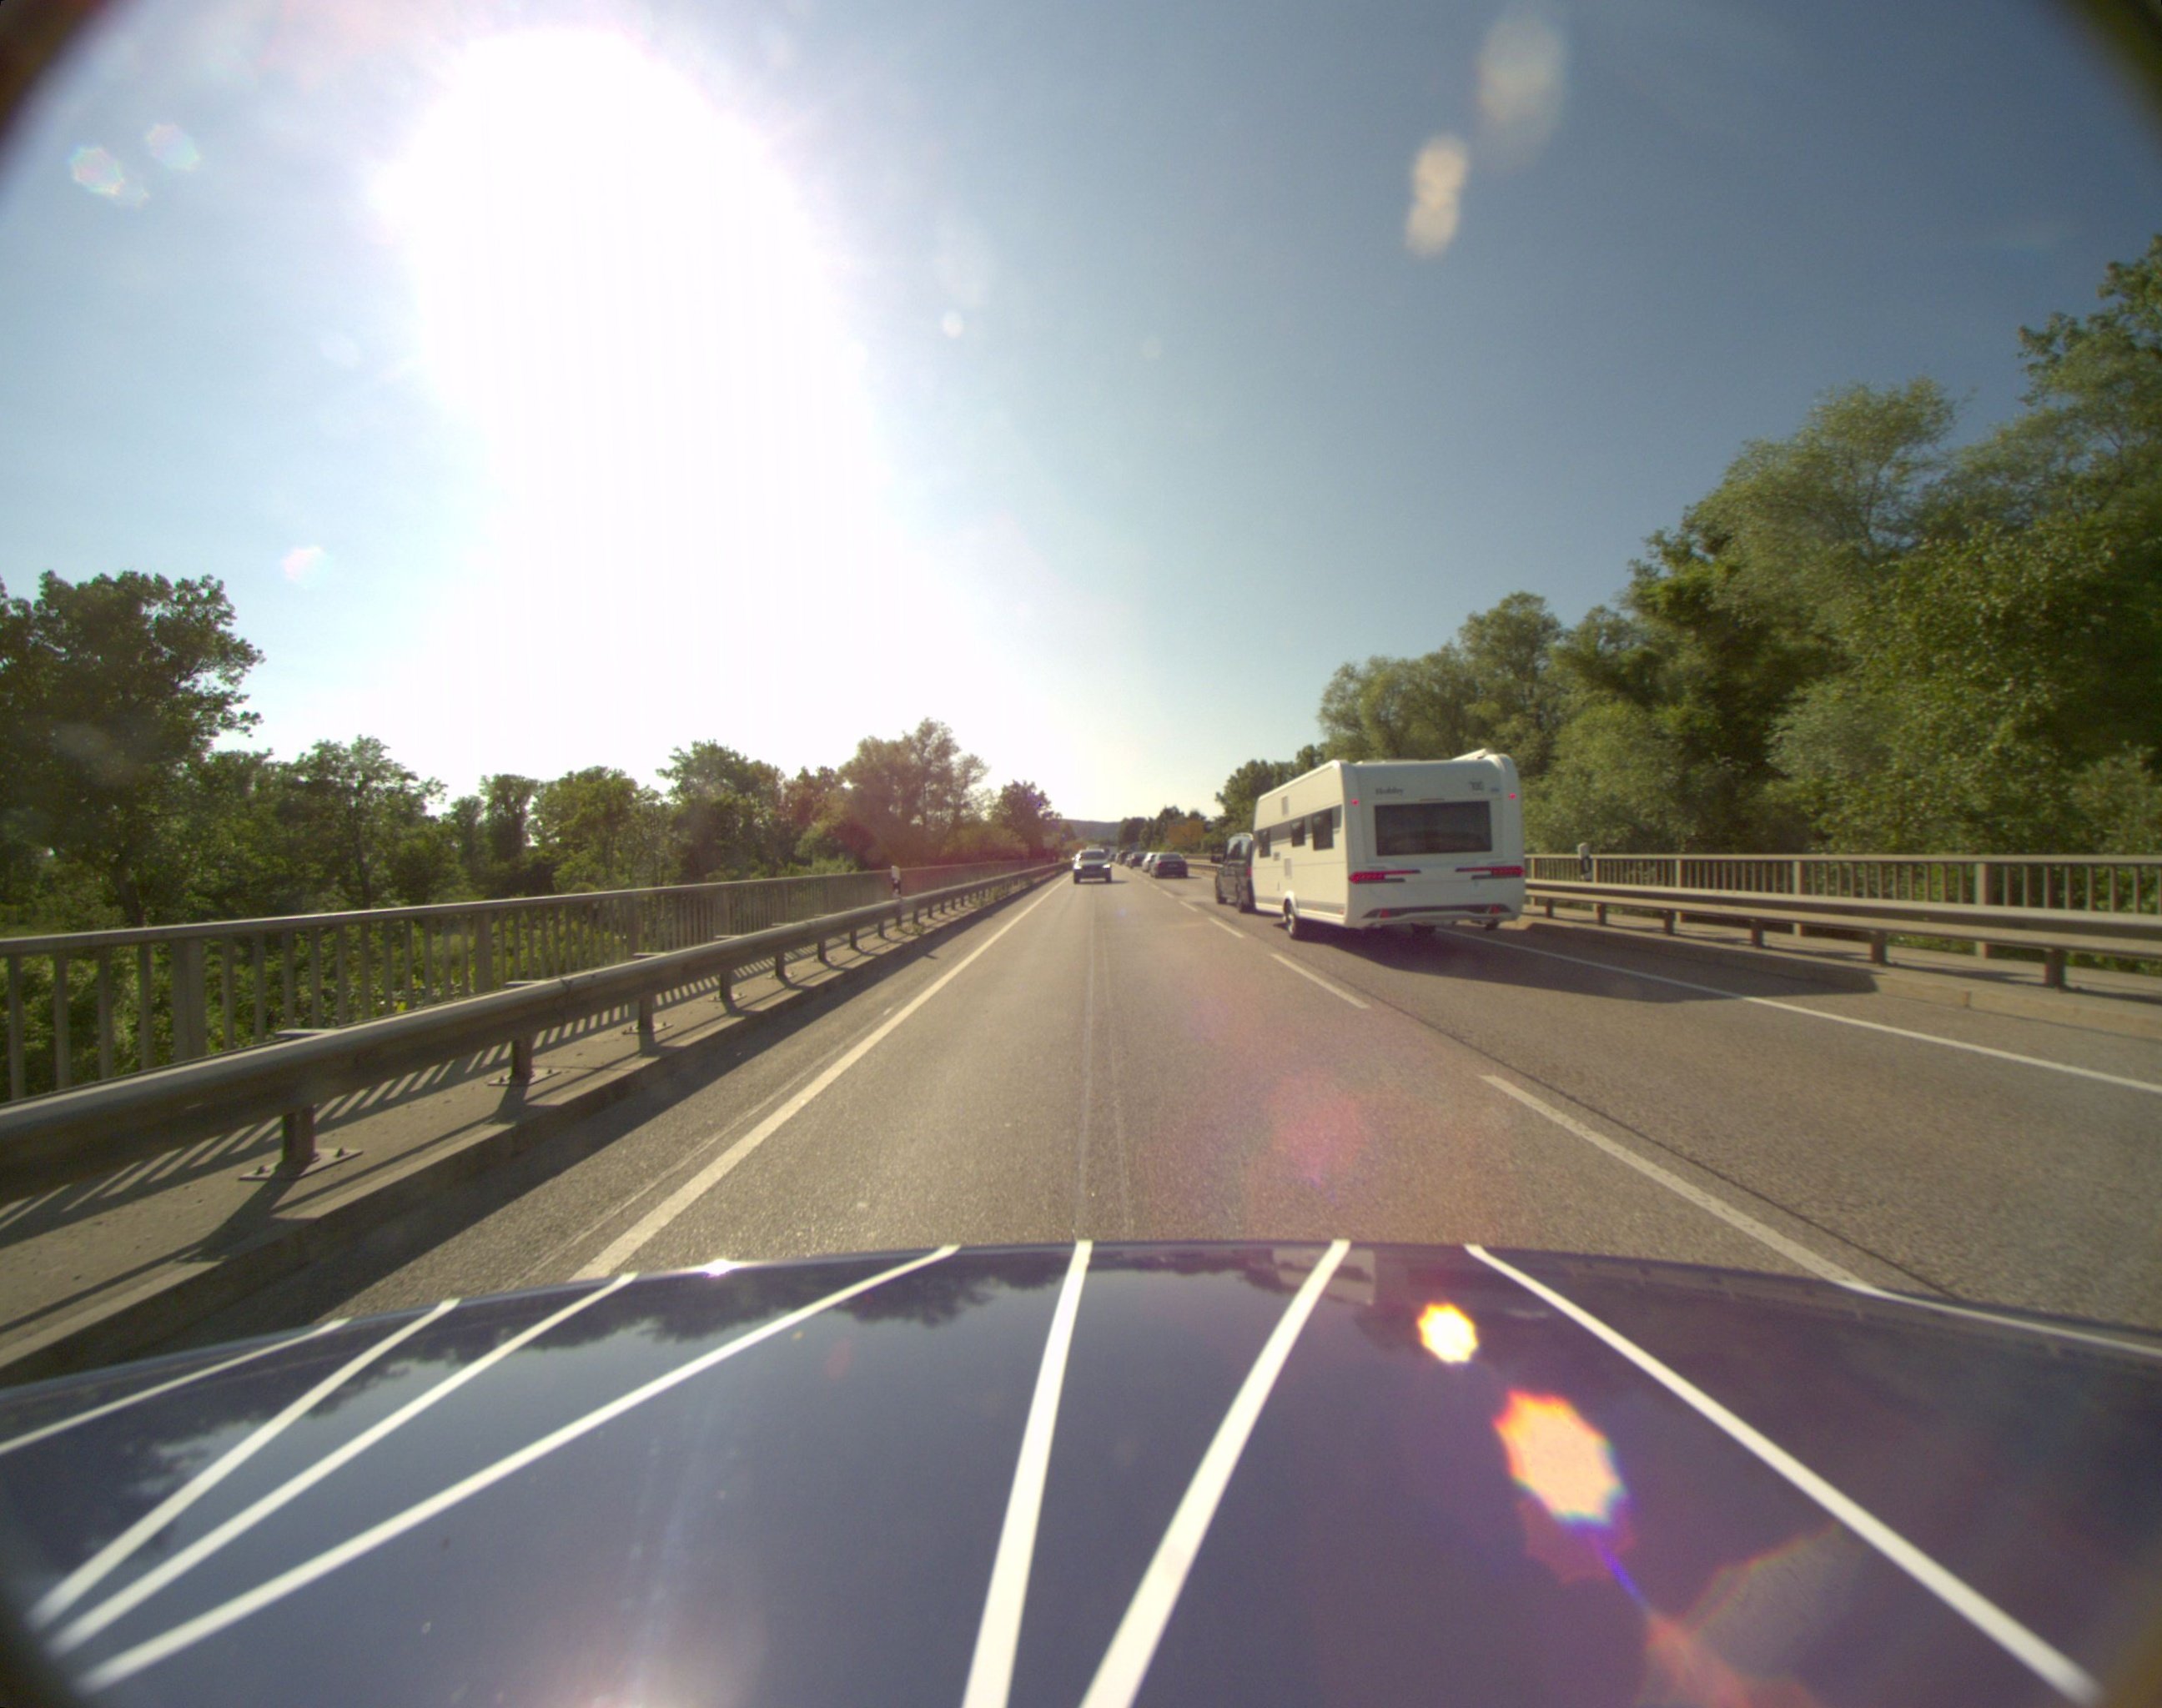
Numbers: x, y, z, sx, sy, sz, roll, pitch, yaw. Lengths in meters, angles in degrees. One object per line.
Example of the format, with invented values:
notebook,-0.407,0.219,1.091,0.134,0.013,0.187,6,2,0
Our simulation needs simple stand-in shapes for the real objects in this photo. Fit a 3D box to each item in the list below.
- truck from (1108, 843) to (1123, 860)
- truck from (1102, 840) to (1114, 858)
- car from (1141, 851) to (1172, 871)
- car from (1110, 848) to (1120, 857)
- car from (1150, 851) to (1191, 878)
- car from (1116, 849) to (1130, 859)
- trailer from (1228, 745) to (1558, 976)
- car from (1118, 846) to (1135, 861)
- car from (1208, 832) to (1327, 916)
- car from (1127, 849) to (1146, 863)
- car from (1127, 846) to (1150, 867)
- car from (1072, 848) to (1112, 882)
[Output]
truck,6.982,-0.450,154.857,2.620,3.235,6.967,-2,0,1
truck,6.899,-1.199,192.363,2.744,4.303,8.130,-2,0,1
car,5.617,0.487,56.897,1.736,1.427,4.486,-1,0,-2
car,6.211,-0.244,138.364,1.743,1.655,4.046,-2,0,1
car,5.067,0.563,43.501,1.791,1.412,4.650,-1,0,0
car,6.393,0.016,116.632,1.825,1.537,4.061,-2,0,0
trailer,4.582,0.059,13.286,2.561,2.721,8.062,-2,0,1
car,5.912,-0.076,99.101,1.972,1.796,4.530,-3,0,2
car,4.647,0.446,19.755,1.988,1.843,5.008,-2,0,2
car,6.292,0.202,86.491,1.893,1.479,4.272,-2,0,1
car,5.368,0.206,71.237,1.972,1.796,4.531,-2,0,2
car,0.614,0.513,38.907,1.871,1.599,4.380,-2,0,2
